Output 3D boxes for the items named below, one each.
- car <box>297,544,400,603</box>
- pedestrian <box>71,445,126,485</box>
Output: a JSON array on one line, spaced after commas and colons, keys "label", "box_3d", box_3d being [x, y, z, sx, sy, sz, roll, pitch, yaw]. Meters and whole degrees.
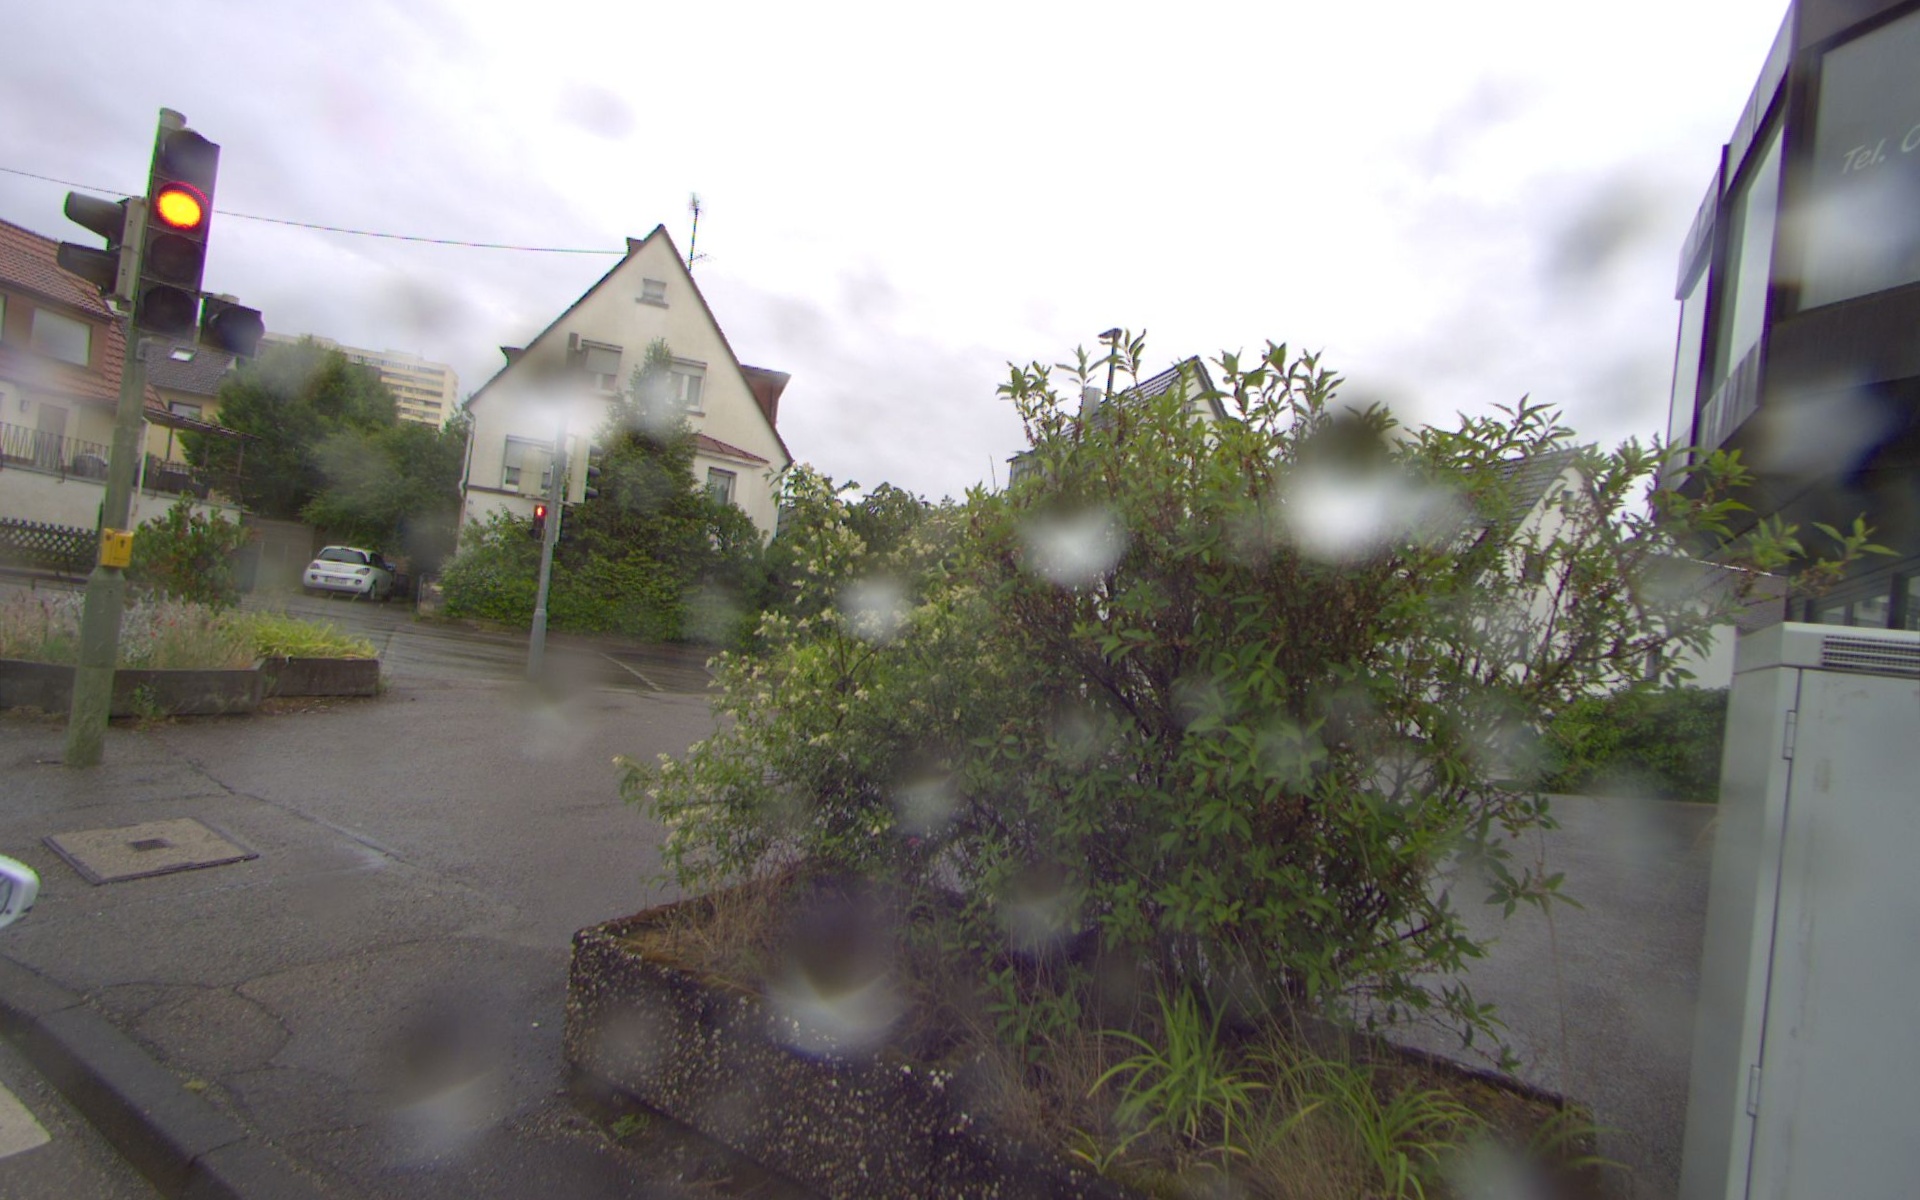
[{"label": "car", "box_3d": [-17.766, -0.743, 29.417, 1.794, 1.378, 3.981, 8, -2, -22]}, {"label": "pedestrian", "box_3d": [-24.282, -3.800, 28.368, 0.623, 0.893, 0.920, 5, -2, 13]}]
